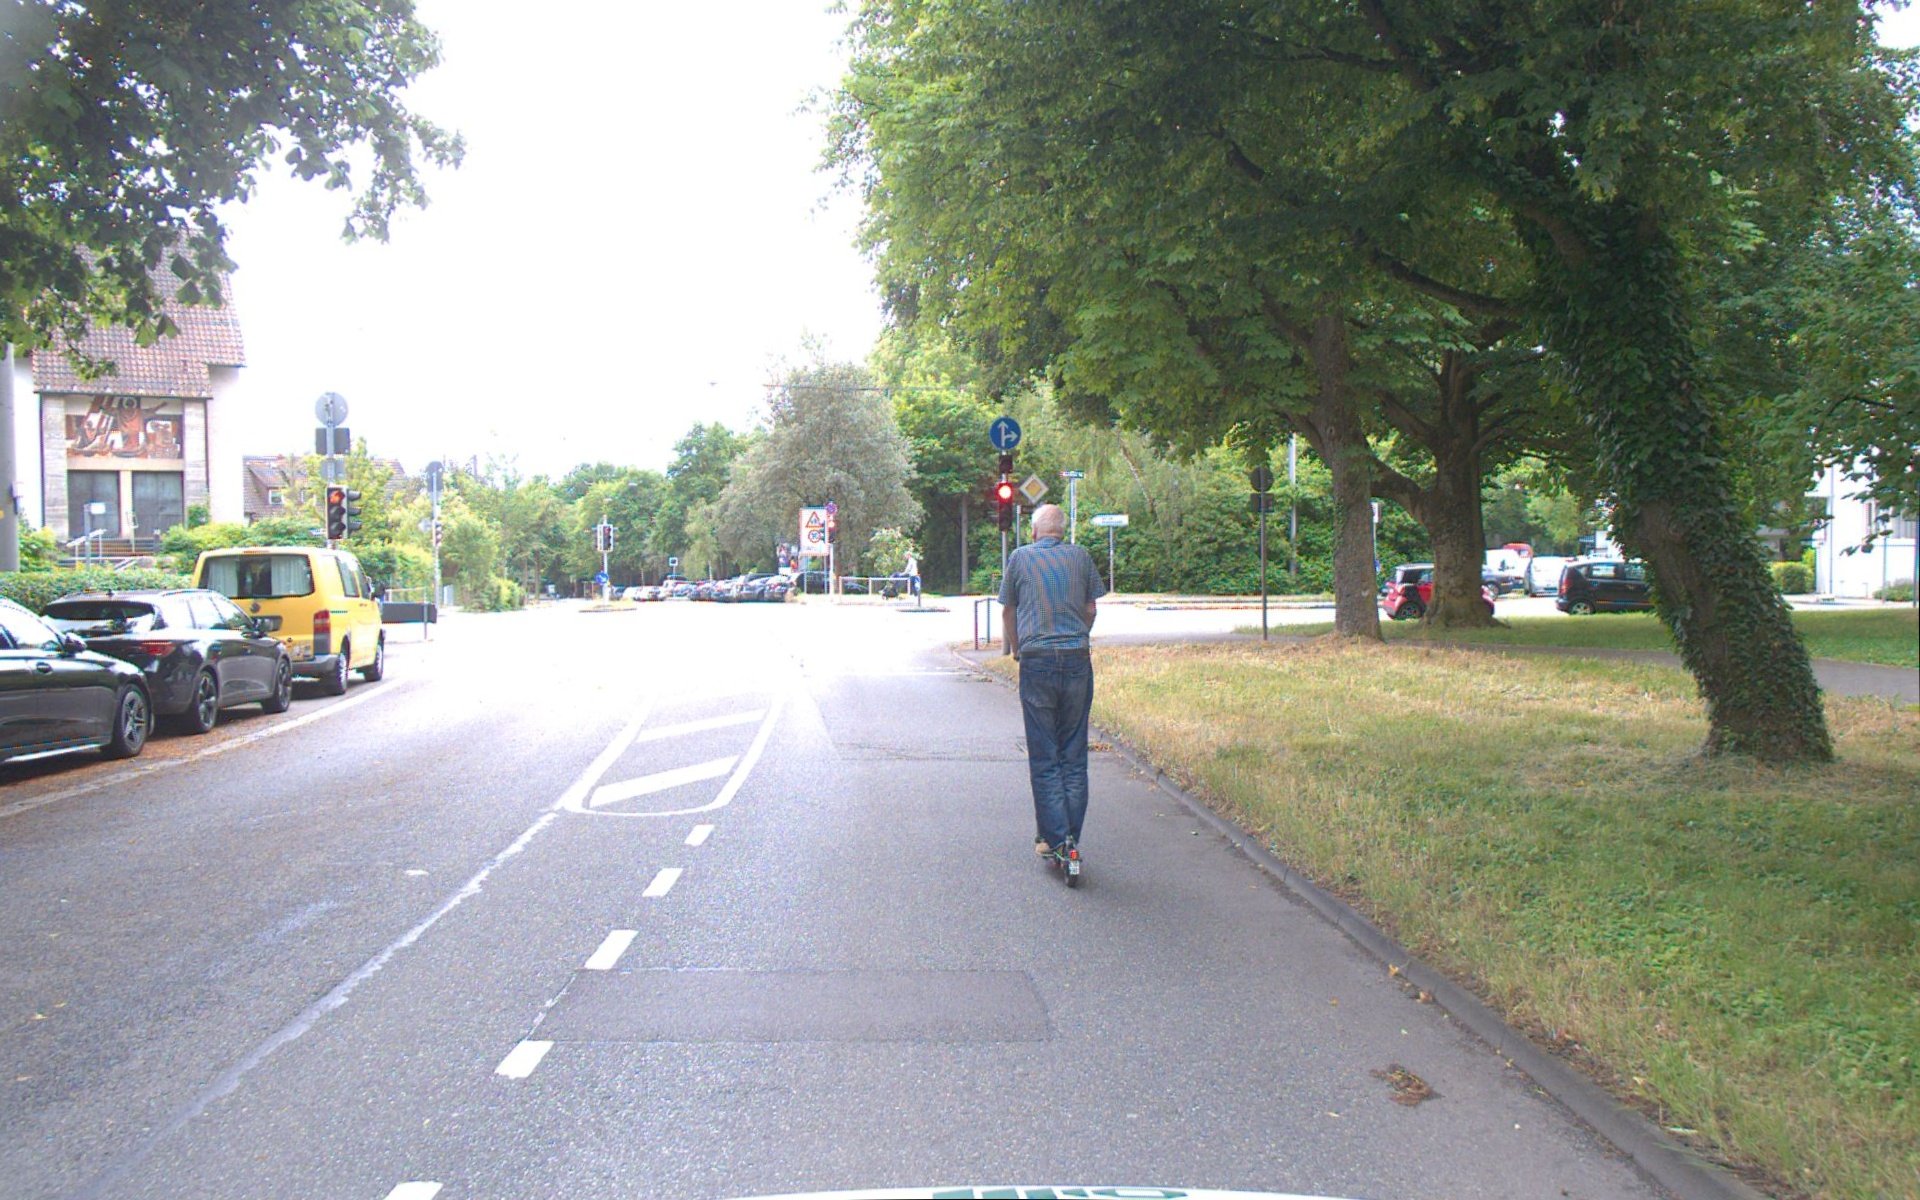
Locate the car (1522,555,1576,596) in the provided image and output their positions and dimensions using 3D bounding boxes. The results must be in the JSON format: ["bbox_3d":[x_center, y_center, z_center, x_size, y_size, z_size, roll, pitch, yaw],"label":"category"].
[{"bbox_3d":[23.115,-0.973,64.841,1.758,1.536,3.999,-1,1,23],"label":"car"}]

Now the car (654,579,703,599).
[{"bbox_3d":[-23.375,-0.906,137.261,3.912,1.536,1.797,-2,1,-8],"label":"car"}]

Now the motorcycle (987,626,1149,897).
[{"bbox_3d":[0.522,0.776,8.480,0.659,1.238,1.273,0,1,-4],"label":"motorcycle"}]

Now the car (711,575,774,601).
[{"bbox_3d":[-13.929,-0.772,105.890,3.912,1.536,1.797,-2,1,-8],"label":"car"}]

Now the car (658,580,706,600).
[{"bbox_3d":[-23.531,-0.846,140.043,3.912,1.536,1.797,-2,1,-8],"label":"car"}]

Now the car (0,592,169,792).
[{"bbox_3d":[-7.905,0.689,12.580,1.855,1.435,4.549,-2,0,-5],"label":"car"}]

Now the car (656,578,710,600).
[{"bbox_3d":[-21.151,-0.834,126.427,3.912,1.536,1.797,-2,1,-8],"label":"car"}]

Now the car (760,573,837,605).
[{"bbox_3d":[-8.488,-0.591,86.892,3.912,1.536,1.797,-2,1,-8],"label":"car"}]

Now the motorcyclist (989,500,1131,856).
[{"bbox_3d":[0.511,0.391,8.680,0.659,1.792,0.638,0,1,-4],"label":"motorcyclist"}]

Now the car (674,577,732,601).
[{"bbox_3d":[-17.870,-0.786,115.343,3.912,1.536,1.797,-2,1,-8],"label":"car"}]

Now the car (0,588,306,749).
[{"bbox_3d":[-8.549,0.632,17.719,1.760,1.440,4.184,-2,1,-6],"label":"car"}]

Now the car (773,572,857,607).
[{"bbox_3d":[-7.008,-0.507,79.874,3.912,1.536,1.797,-2,1,-8],"label":"car"}]

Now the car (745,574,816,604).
[{"bbox_3d":[-10.179,-0.645,93.608,3.912,1.536,1.797,-2,1,-8],"label":"car"}]

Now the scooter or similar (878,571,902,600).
[{"bbox_3d":[-2.593,-0.546,61.399,0.695,1.067,0.788,-1,0,14],"label":"scooter or similar"}]

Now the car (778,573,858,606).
[{"bbox_3d":[-7.202,-0.543,83.447,3.912,1.536,1.797,-2,1,-8],"label":"car"}]

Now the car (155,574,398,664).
[{"bbox_3d":[-12.849,0.327,31.334,3.915,1.536,1.796,-1,3,-11],"label":"car"}]

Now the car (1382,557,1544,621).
[{"bbox_3d":[13.483,-0.311,44.549,3.902,1.584,1.802,1,4,7],"label":"car"}]

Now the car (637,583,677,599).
[{"bbox_3d":[-31.102,-0.919,169.868,3.912,1.536,1.797,-2,1,-8],"label":"car"}]

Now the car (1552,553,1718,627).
[{"bbox_3d":[17.651,-0.295,43.439,3.904,1.756,1.801,1,4,20],"label":"car"}]

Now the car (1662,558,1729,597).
[{"bbox_3d":[30.152,-0.930,67.887,2.039,1.536,4.002,-1,1,17],"label":"car"}]

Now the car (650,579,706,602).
[{"bbox_3d":[-20.560,-0.684,120.523,3.912,1.536,1.797,-2,1,-8],"label":"car"}]

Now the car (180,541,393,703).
[{"bbox_3d":[-9.341,0.265,23.306,1.824,1.998,4.493,-2,0,-10],"label":"car"}]

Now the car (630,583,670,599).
[{"bbox_3d":[-32.701,-0.970,174.552,3.912,1.536,1.797,-2,1,-8],"label":"car"}]

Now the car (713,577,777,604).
[{"bbox_3d":[-13.526,-0.622,104.000,3.912,1.536,1.797,-2,1,-8],"label":"car"}]

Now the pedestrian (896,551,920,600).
[{"bbox_3d":[-1.923,-0.913,61.080,0.716,1.792,0.662,-1,0,14],"label":"pedestrian"}]
